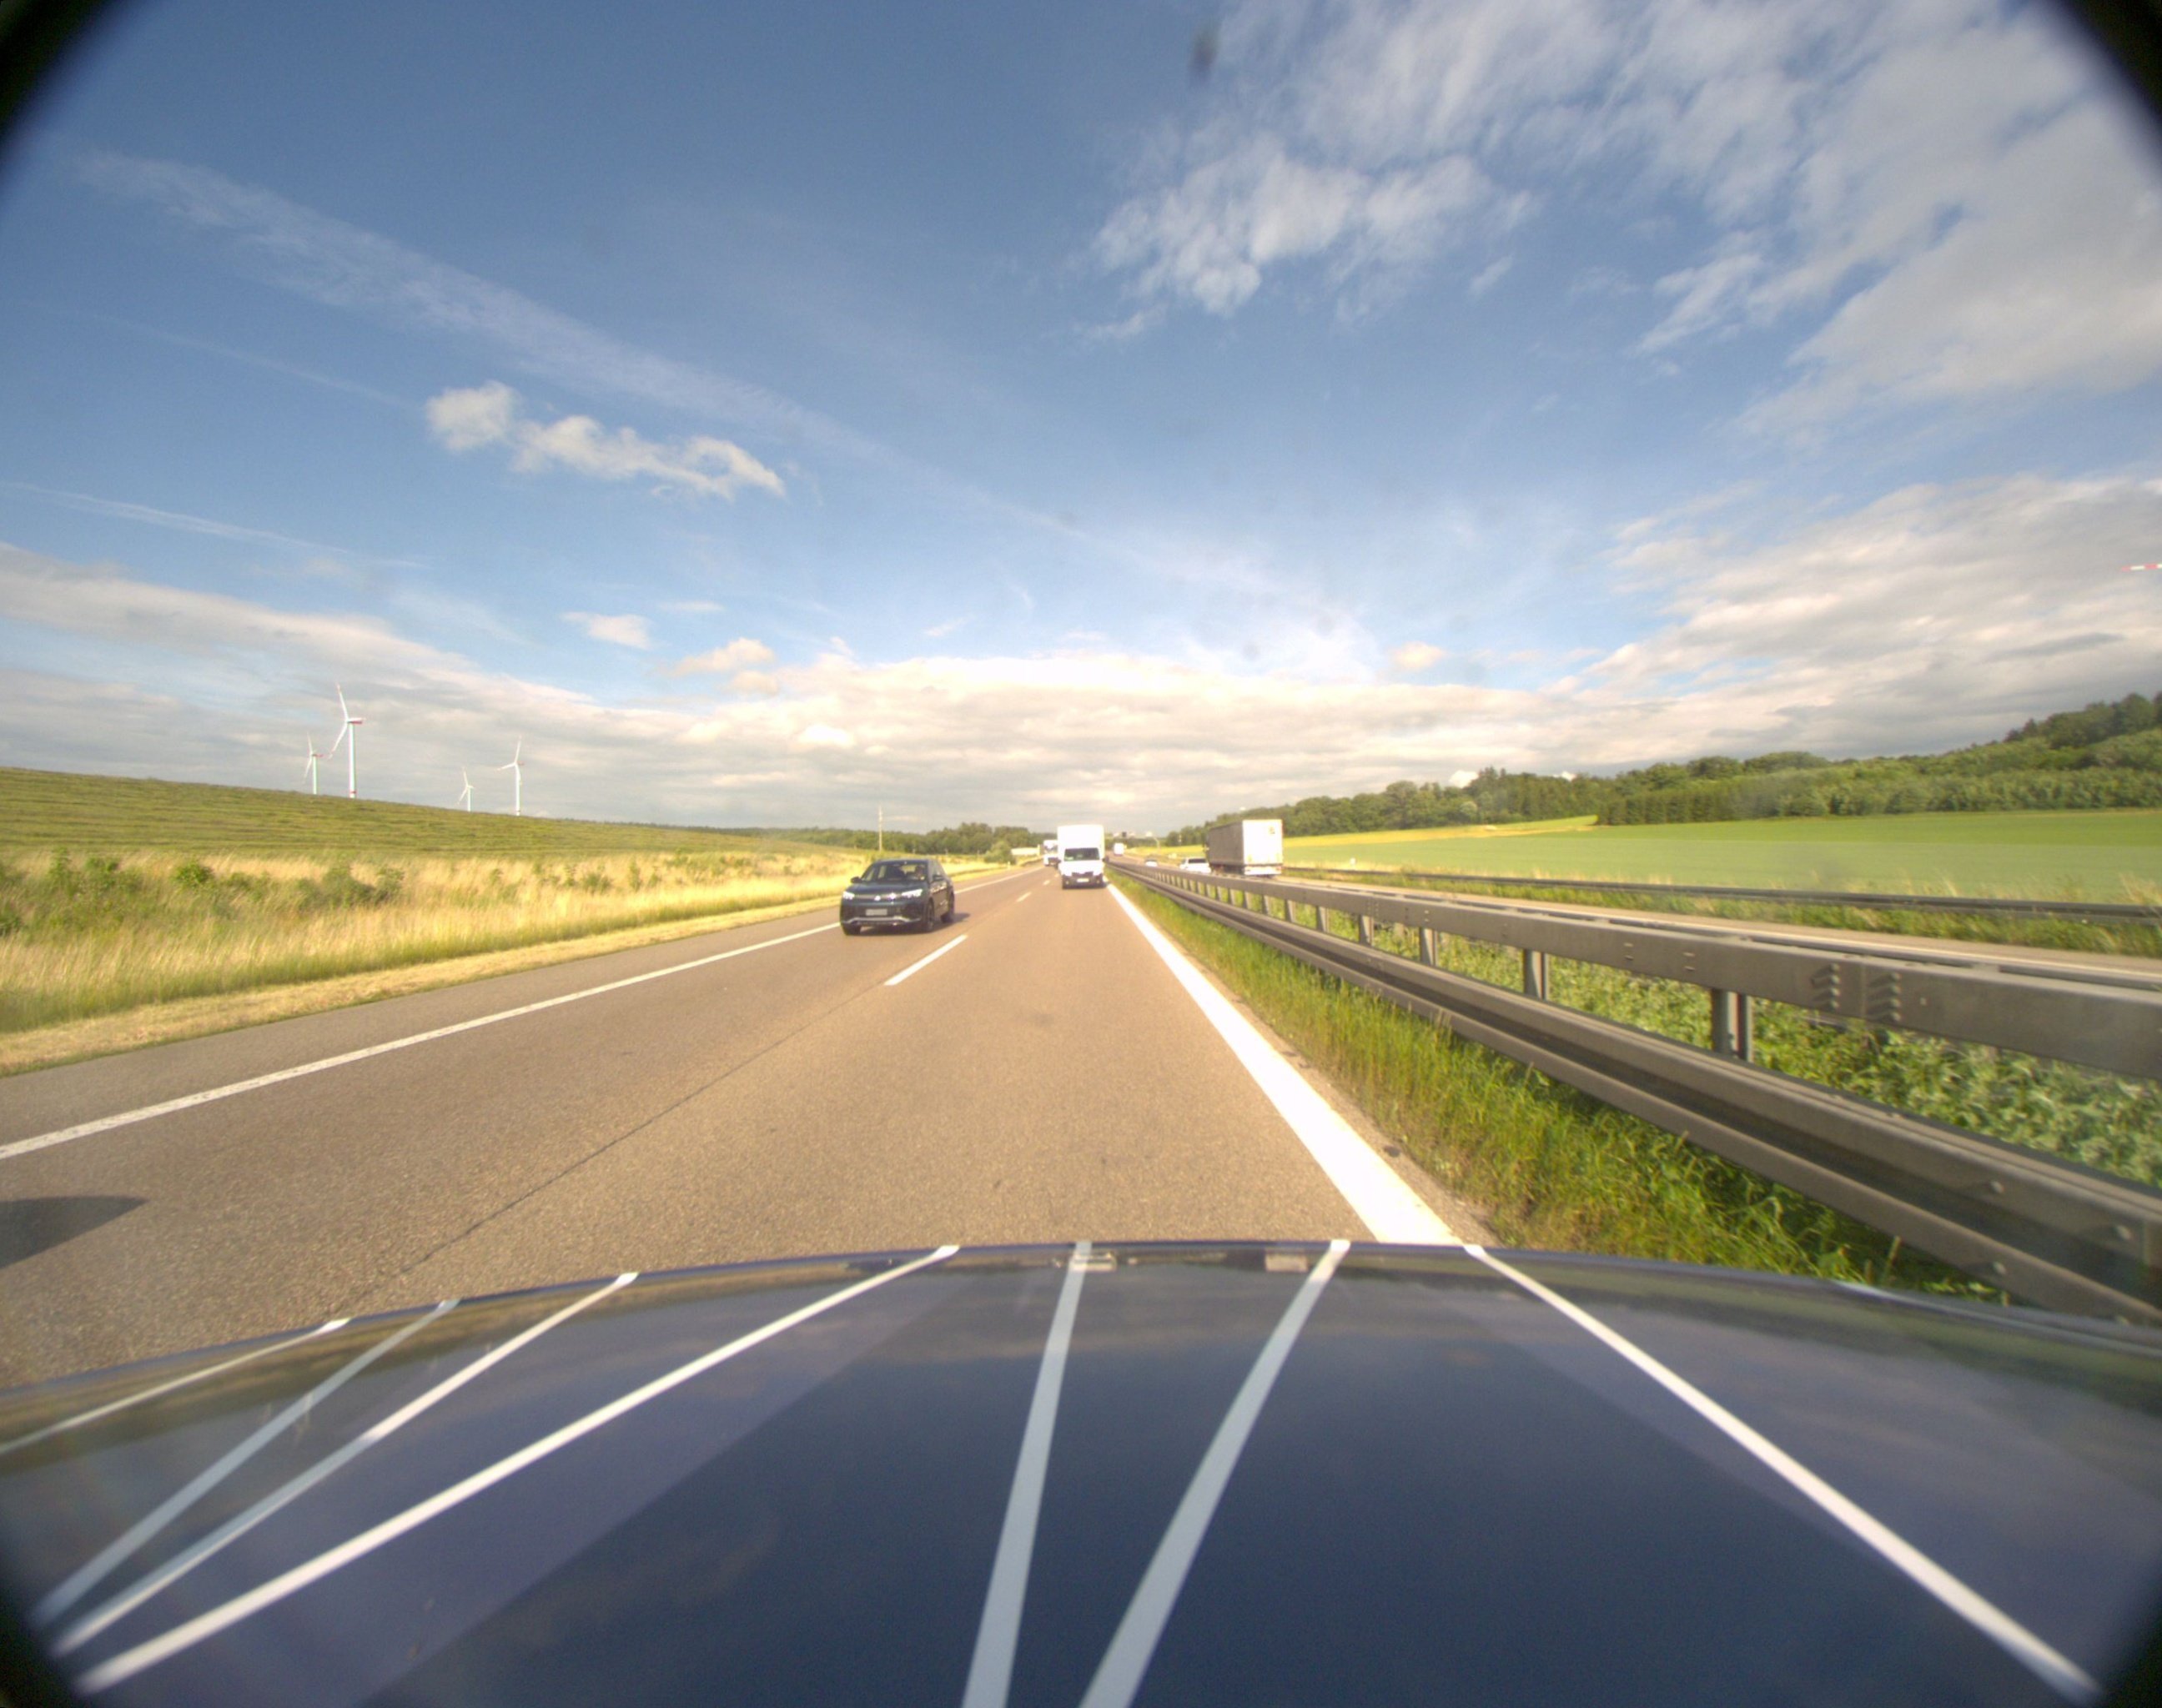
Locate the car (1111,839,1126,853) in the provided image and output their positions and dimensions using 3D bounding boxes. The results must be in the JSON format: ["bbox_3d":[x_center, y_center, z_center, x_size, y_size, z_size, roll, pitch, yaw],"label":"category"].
[{"bbox_3d":[12.741,-2.754,261.814,4.551,4.410,13.723,-2,1,1],"label":"car"}]

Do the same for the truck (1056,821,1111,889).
[{"bbox_3d":[0.095,0.066,41.498,2.502,3.141,11.162,-2,0,0],"label":"truck"}]

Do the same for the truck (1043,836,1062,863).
[{"bbox_3d":[-4.504,-0.714,121.113,2.607,4.017,6.119,-1,1,2],"label":"truck"}]

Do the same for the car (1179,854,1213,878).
[{"bbox_3d":[7.733,0.762,51.517,1.708,1.482,3.999,-2,1,1],"label":"car"}]

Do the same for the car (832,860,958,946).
[{"bbox_3d":[-4.098,1.014,17.482,1.826,1.592,4.234,-2,1,0],"label":"car"}]

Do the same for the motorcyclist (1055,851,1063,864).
[{"bbox_3d":[-2.700,0.480,93.529,0.852,1.551,0.934,-2,1,0],"label":"motorcyclist"}]

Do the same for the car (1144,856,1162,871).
[{"bbox_3d":[8.282,1.066,88.236,1.708,1.537,3.999,-2,1,1],"label":"car"}]

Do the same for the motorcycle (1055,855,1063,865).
[{"bbox_3d":[-2.688,0.760,93.489,0.898,1.183,2.256,-2,1,0],"label":"motorcycle"}]

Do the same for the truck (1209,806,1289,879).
[{"bbox_3d":[12.018,-0.831,55.973,2.887,4.608,13.421,-2,1,1],"label":"truck"}]
